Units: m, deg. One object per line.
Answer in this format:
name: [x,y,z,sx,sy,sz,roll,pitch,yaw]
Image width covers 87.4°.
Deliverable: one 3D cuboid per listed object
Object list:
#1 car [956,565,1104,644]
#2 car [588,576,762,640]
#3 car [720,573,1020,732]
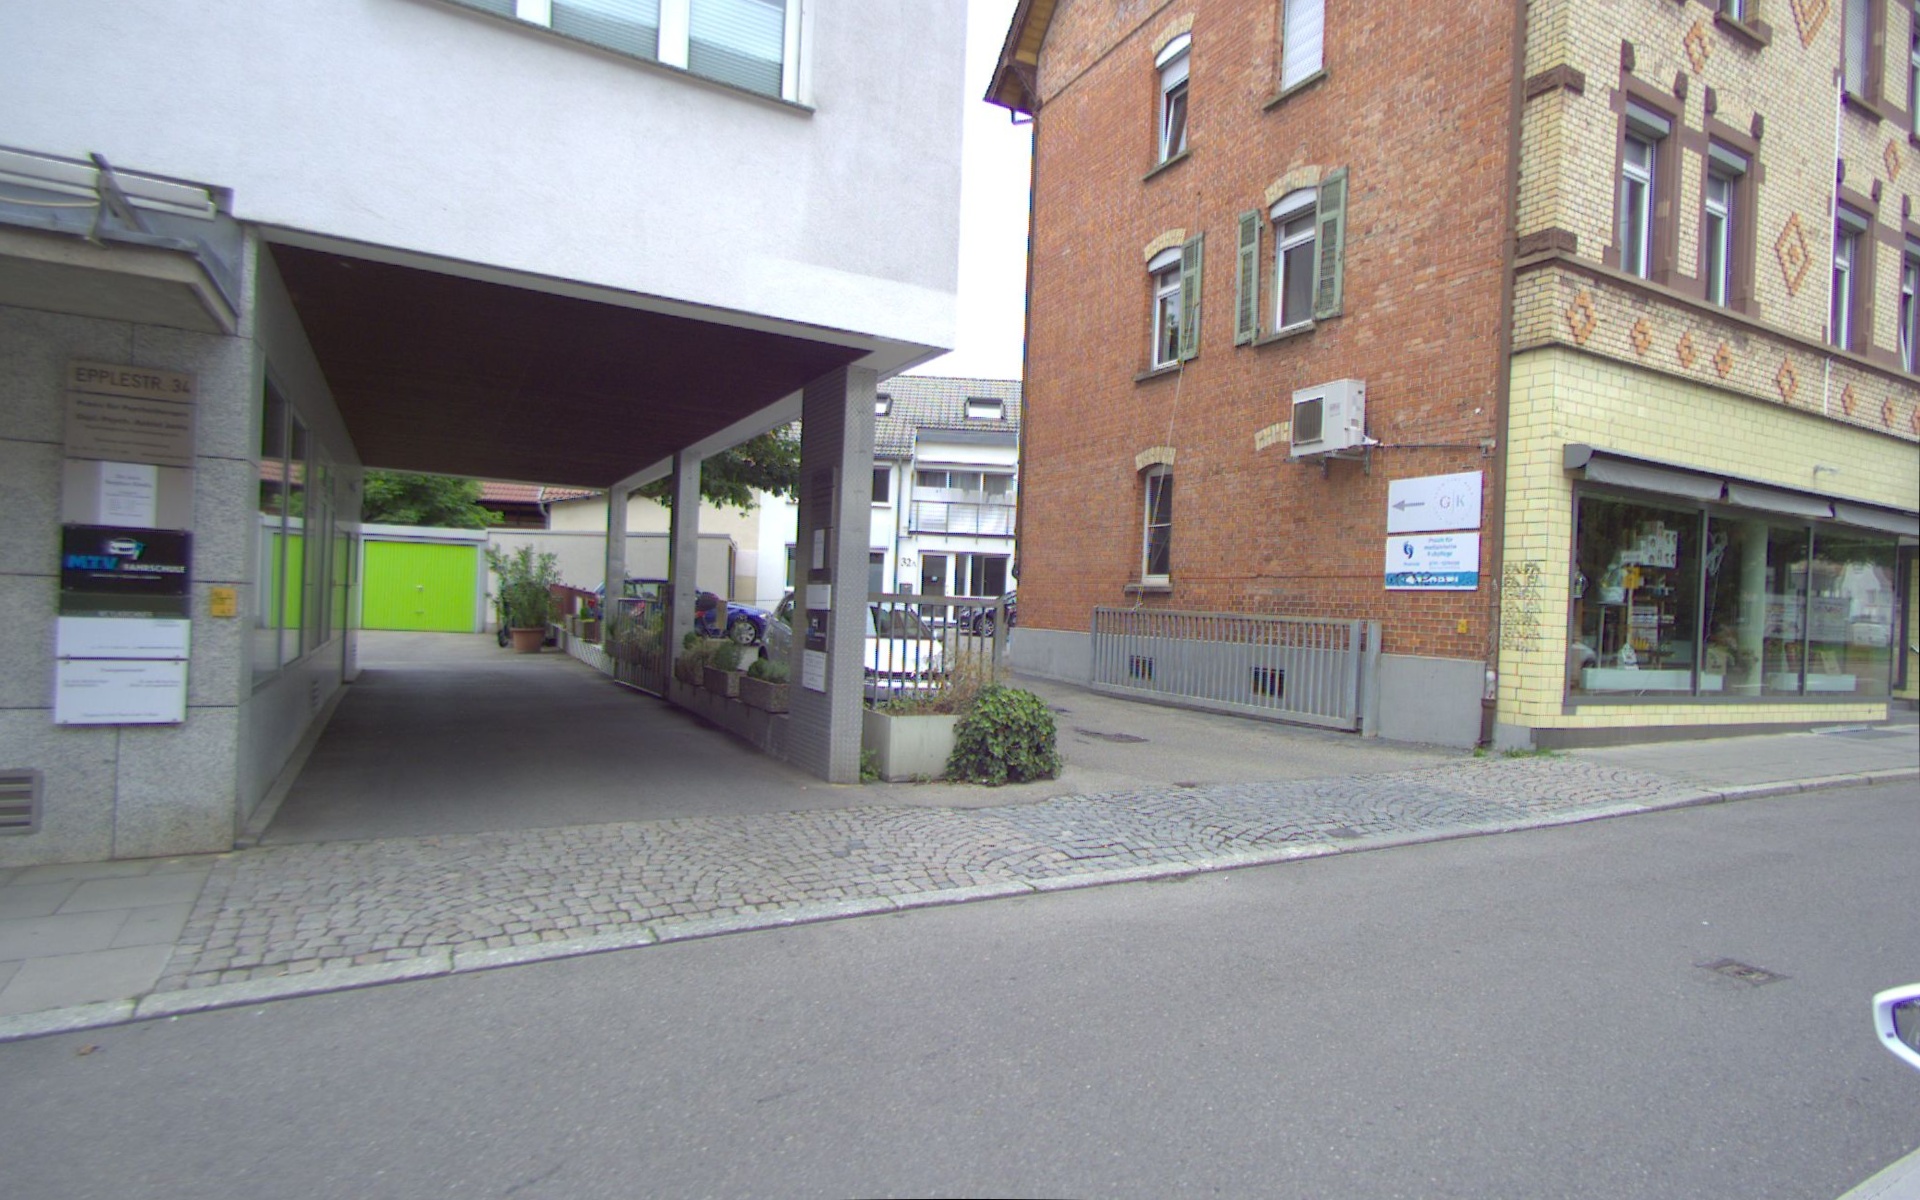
car: [2.034,0.114,28.412,3.919,2.040,2.001,2,0,10]
car: [-6.968,0.190,24.985,3.929,1.417,1.996,2,0,-11]
car: [-1.246,0.507,11.997,1.978,1.550,3.965,2,0,-32]
